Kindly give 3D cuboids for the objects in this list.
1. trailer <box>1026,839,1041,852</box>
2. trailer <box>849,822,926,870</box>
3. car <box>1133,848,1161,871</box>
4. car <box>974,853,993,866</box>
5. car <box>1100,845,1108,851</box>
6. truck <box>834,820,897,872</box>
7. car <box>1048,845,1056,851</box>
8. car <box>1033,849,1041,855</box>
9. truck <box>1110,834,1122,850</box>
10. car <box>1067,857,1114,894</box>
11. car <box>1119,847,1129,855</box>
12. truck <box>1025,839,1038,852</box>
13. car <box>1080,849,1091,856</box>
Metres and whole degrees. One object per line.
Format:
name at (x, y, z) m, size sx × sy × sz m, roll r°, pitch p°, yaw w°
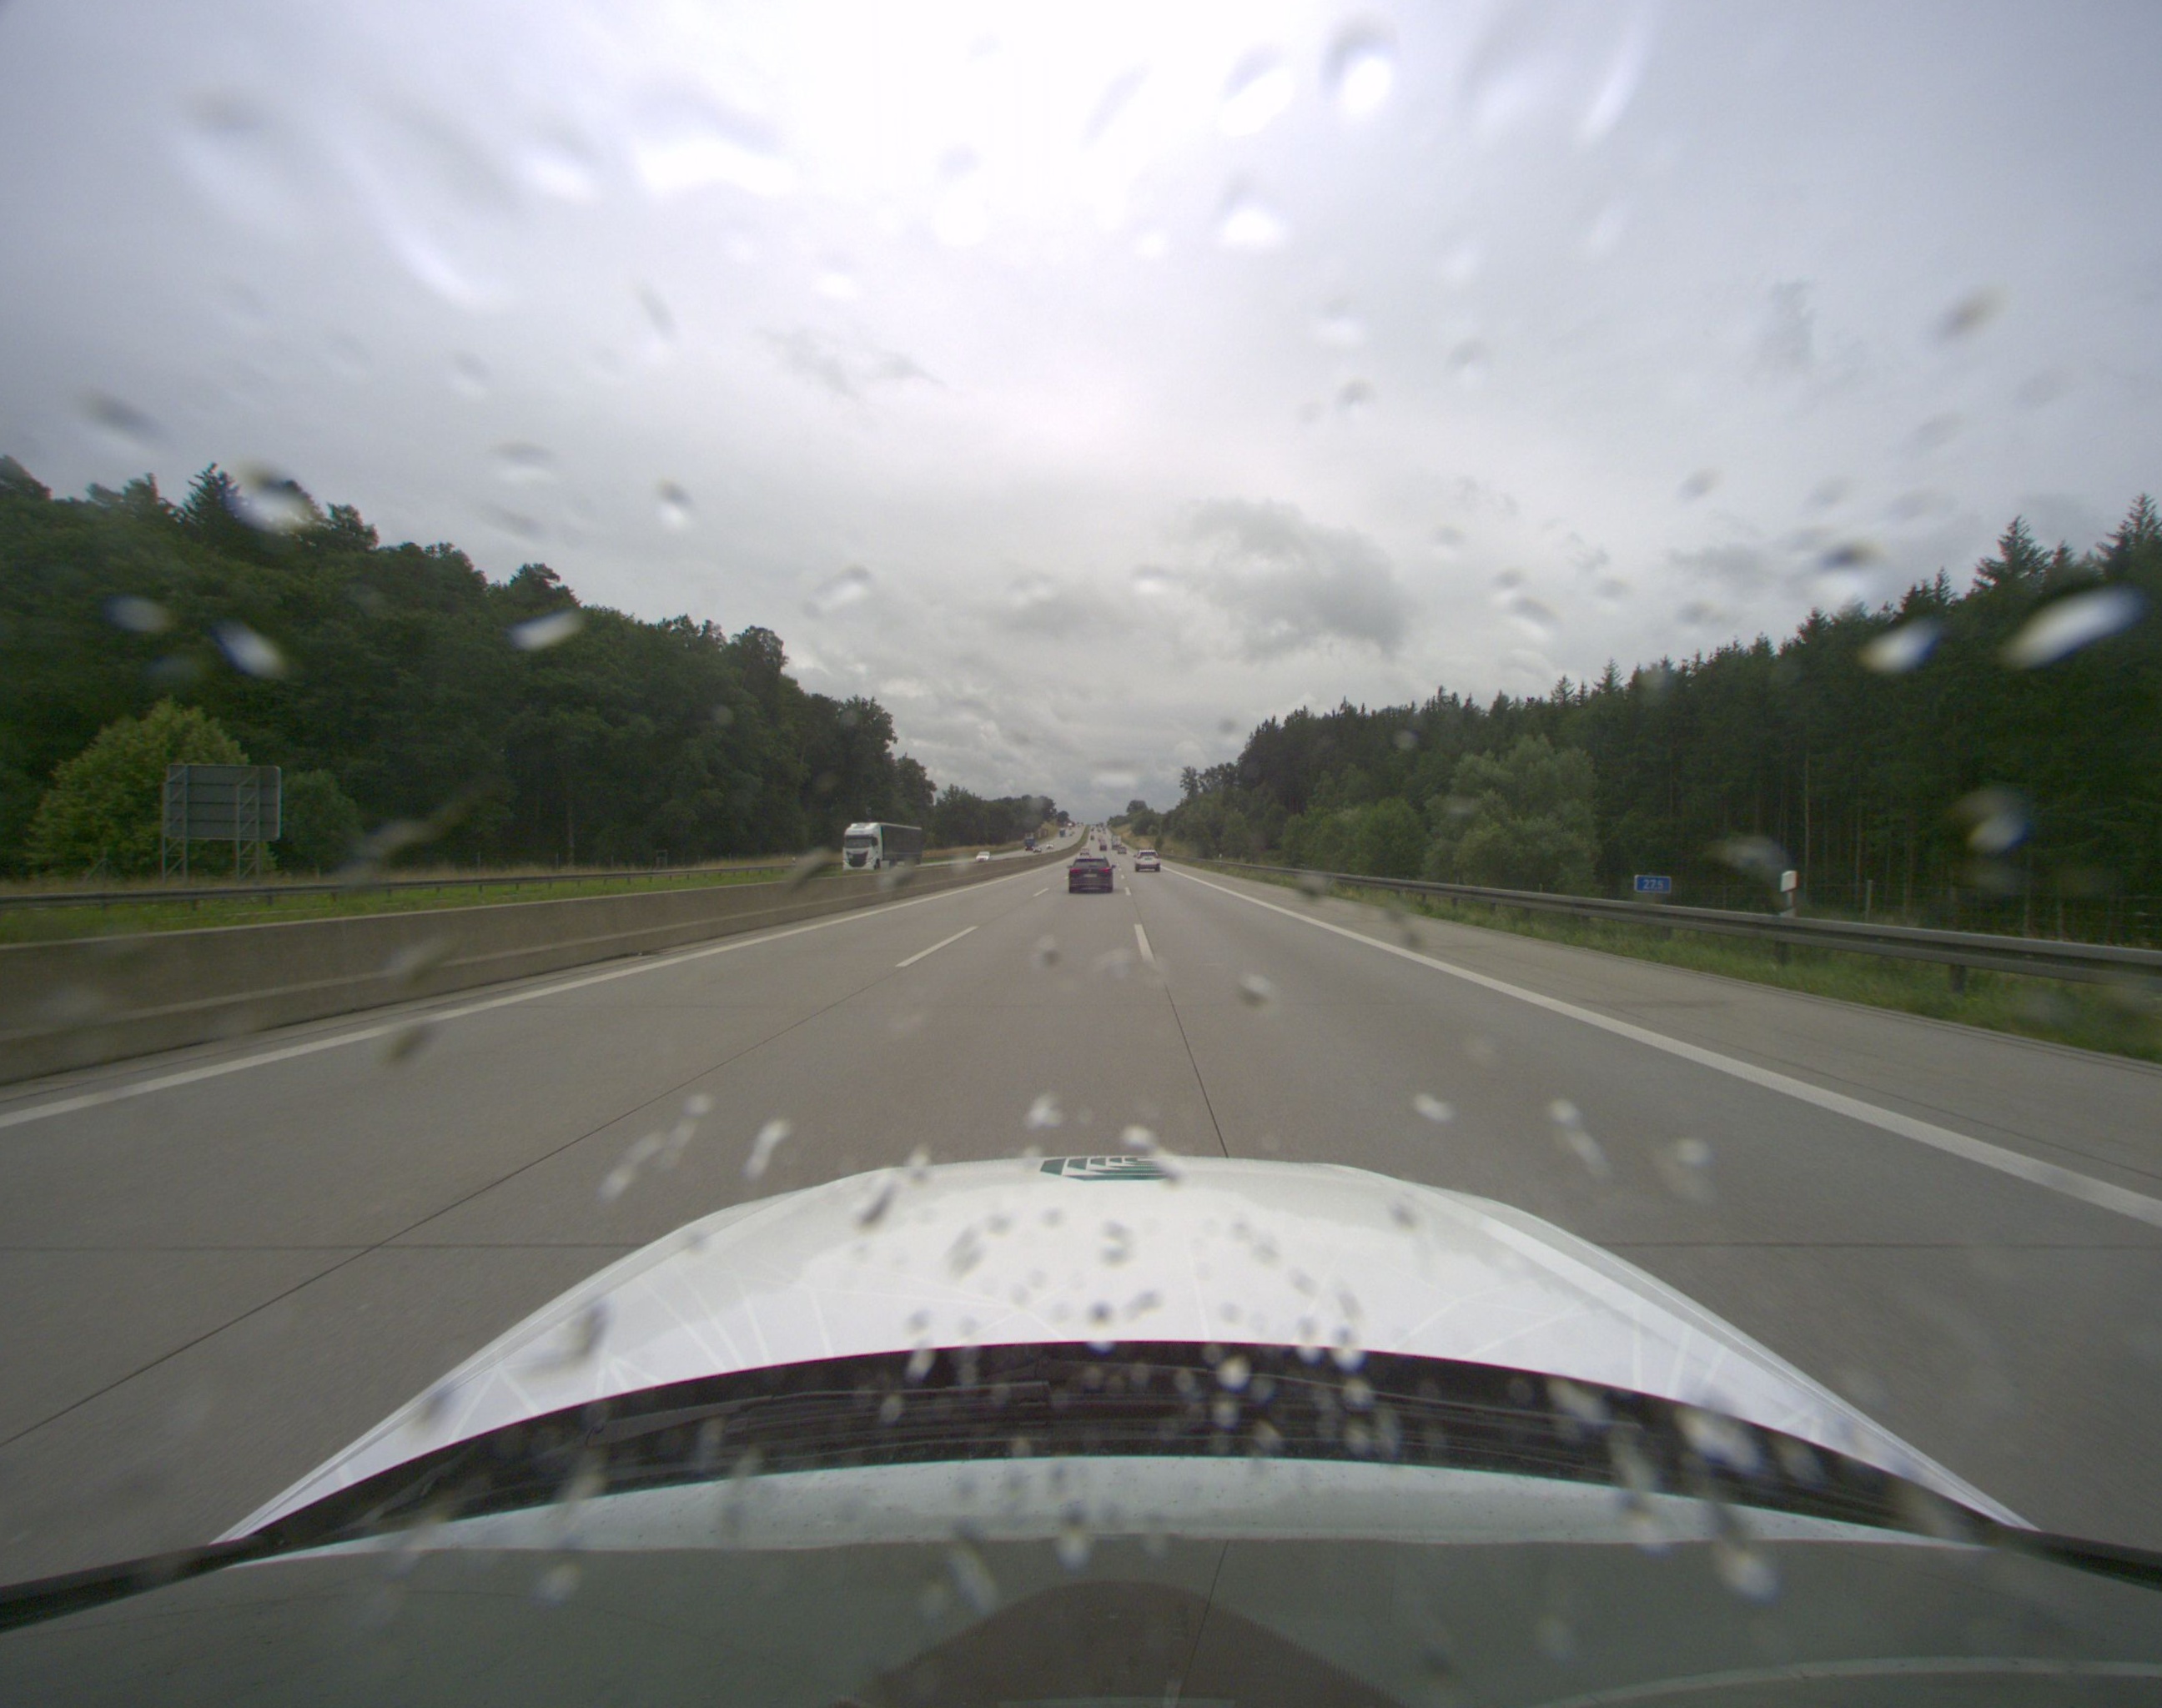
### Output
trailer at (-13.148, -2.378, 226.362) m, size 2.775 × 3.507 × 13.890 m, roll 0°, pitch 0°, yaw 1°
trailer at (-17.576, -0.700, 75.356) m, size 3.223 × 4.052 × 14.137 m, roll 0°, pitch 0°, yaw 2°
car at (5.046, 0.417, 62.436) m, size 1.820 × 1.655 × 3.984 m, roll 0°, pitch 0°, yaw 0°
car at (-12.286, 0.692, 102.848) m, size 1.777 × 1.468 × 4.373 m, roll -1°, pitch 1°, yaw 1°
car at (5.785, -1.535, 206.466) m, size 1.928 × 1.375 × 4.597 m, roll 0°, pitch 1°, yaw 2°
truck at (-17.809, -0.642, 67.830) m, size 3.200 × 4.057 × 7.169 m, roll 0°, pitch 0°, yaw 2°
car at (-8.430, -1.678, 236.136) m, size 2.080 × 1.801 × 5.499 m, roll 0°, pitch 0°, yaw 1°
car at (-10.413, -0.402, 193.091) m, size 1.842 × 1.376 × 4.436 m, roll 0°, pitch 0°, yaw -1°
truck at (9.667, -3.343, 224.087) m, size 3.007 × 4.179 × 8.356 m, roll 0°, pitch 2°, yaw 1°
car at (0.445, 0.810, 32.942) m, size 1.745 × 1.398 × 4.487 m, roll 0°, pitch 0°, yaw 2°
car at (8.814, -0.687, 168.185) m, size 1.986 × 1.530 × 4.001 m, roll 1°, pitch 0°, yaw 1°
truck at (-13.286, -2.262, 219.341) m, size 2.747 × 3.516 × 6.643 m, roll 0°, pitch 0°, yaw 1°
car at (0.960, -0.249, 161.920) m, size 1.940 × 1.356 × 4.262 m, roll -1°, pitch -1°, yaw 2°
